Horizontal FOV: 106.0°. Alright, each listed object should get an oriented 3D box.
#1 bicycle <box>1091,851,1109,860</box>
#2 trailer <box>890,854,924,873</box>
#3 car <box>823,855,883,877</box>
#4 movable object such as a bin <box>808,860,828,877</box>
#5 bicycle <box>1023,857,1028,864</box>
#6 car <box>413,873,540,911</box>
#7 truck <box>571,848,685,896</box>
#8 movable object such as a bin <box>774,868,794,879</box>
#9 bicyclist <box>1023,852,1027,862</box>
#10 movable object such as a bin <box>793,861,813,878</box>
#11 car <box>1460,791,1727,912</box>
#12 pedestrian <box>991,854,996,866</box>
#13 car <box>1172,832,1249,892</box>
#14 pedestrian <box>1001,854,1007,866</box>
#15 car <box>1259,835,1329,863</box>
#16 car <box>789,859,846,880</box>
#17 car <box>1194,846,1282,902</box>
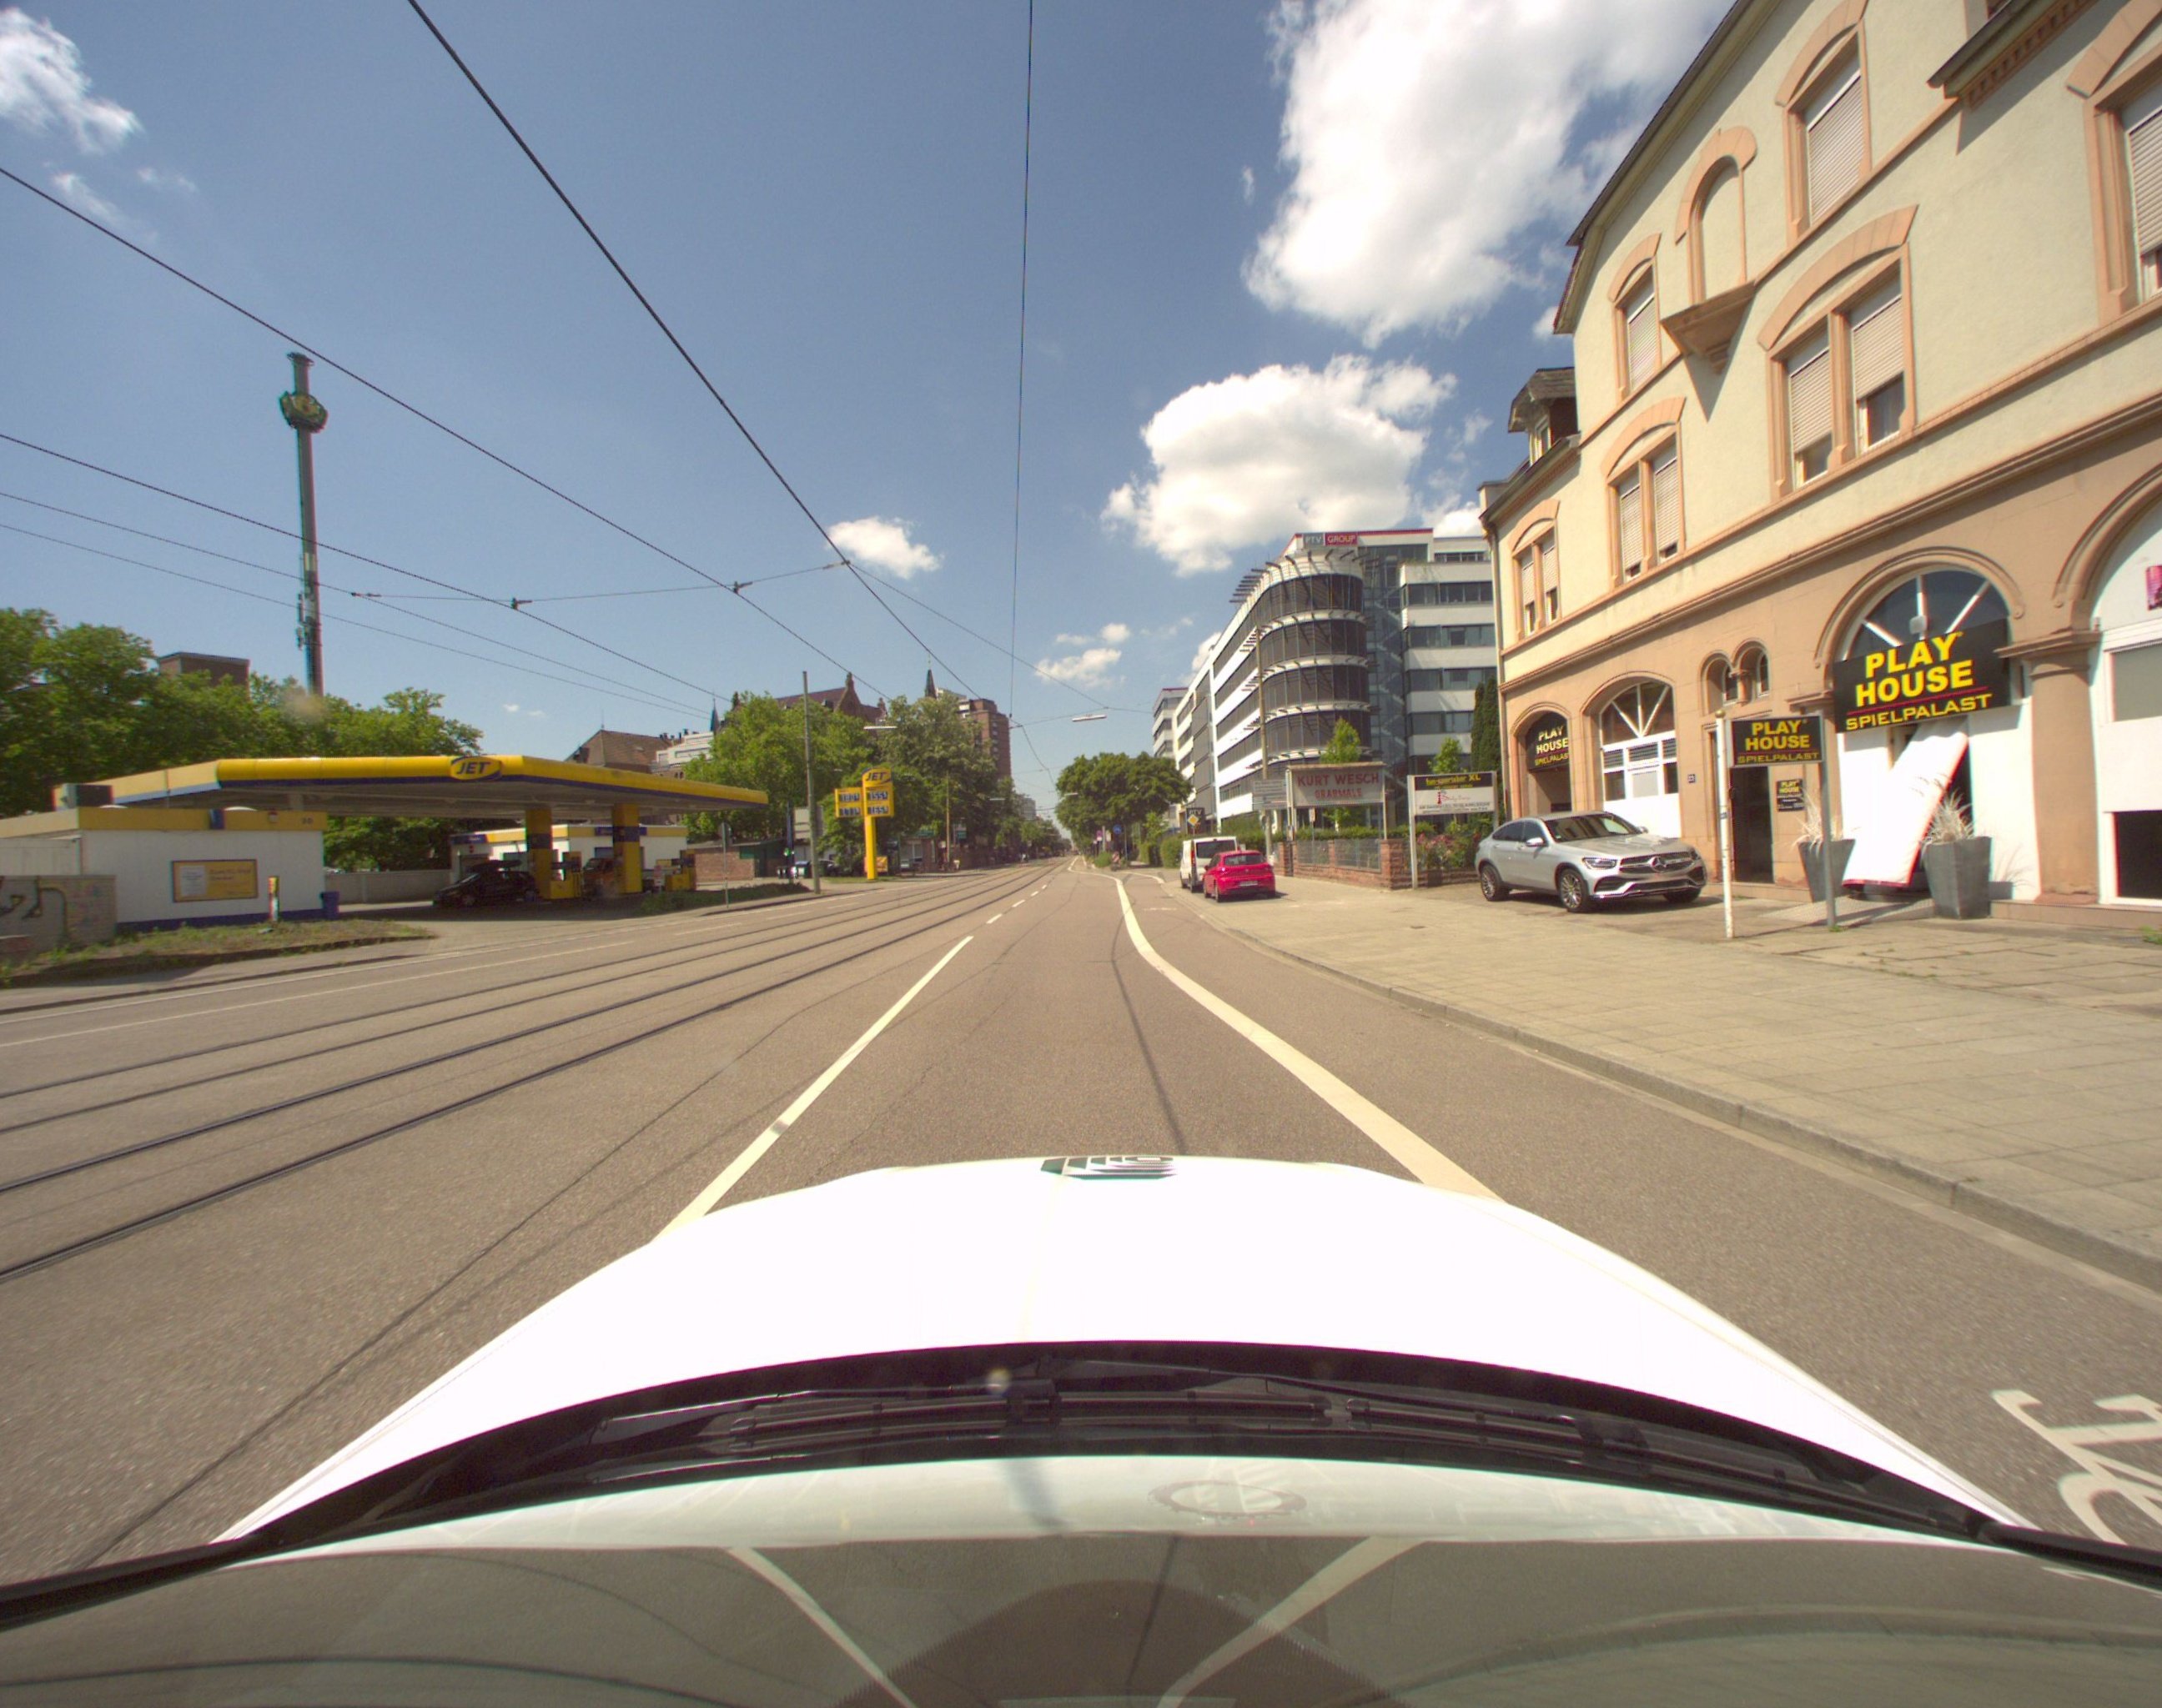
[{"bbox_3d":[2.680,0.179,115.686,2.499,1.209,0.648,-3,0,4],"label":"bicycle"},{"bbox_3d":[-16.555,0.926,77.642,2.820,1.703,1.621,-2,0,0],"label":"trailer"},{"bbox_3d":[-19.137,0.984,68.512,1.975,1.590,4.360,-2,0,44],"label":"car"},{"bbox_3d":[-21.689,1.205,67.190,1.341,1.354,0.758,-3,0,-2],"label":"movable object such as a bin"},{"bbox_3d":[-10.048,1.104,147.451,0.699,1.204,2.240,-5,0,0],"label":"bicycle"},{"bbox_3d":[-28.659,1.754,38.758,1.974,1.479,4.369,-3,0,28],"label":"car"},{"bbox_3d":[-25.425,0.964,45.925,1.974,2.498,5.236,-3,0,30],"label":"truck"},{"bbox_3d":[-24.997,1.615,68.493,1.333,0.873,0.762,-3,0,20],"label":"movable object such as a bin"},{"bbox_3d":[-10.073,0.527,147.524,0.640,1.679,0.814,-3,0,-2],"label":"bicyclist"},{"bbox_3d":[-23.199,1.289,67.973,1.335,1.354,0.761,-3,0,12],"label":"movable object such as a bin"},{"bbox_3d":[8.684,-0.050,14.423,1.870,1.624,4.643,-6,0,3],"label":"car"},{"bbox_3d":[-13.664,0.925,127.258,0.741,1.728,0.867,-2,0,-1],"label":"pedestrian"},{"bbox_3d":[4.883,0.266,31.462,1.987,1.991,5.514,-5,0,0],"label":"car"},{"bbox_3d":[-11.749,0.880,124.171,0.812,1.770,0.924,-2,0,-1],"label":"pedestrian"},{"bbox_3d":[12.510,-0.303,47.918,3.589,1.451,1.758,-3,0,-1],"label":"car"},{"bbox_3d":[-23.225,1.364,71.970,4.358,1.592,1.887,-2,0,-43],"label":"car"},{"bbox_3d":[4.678,0.550,24.870,1.986,1.442,4.019,-3,0,2],"label":"car"}]
